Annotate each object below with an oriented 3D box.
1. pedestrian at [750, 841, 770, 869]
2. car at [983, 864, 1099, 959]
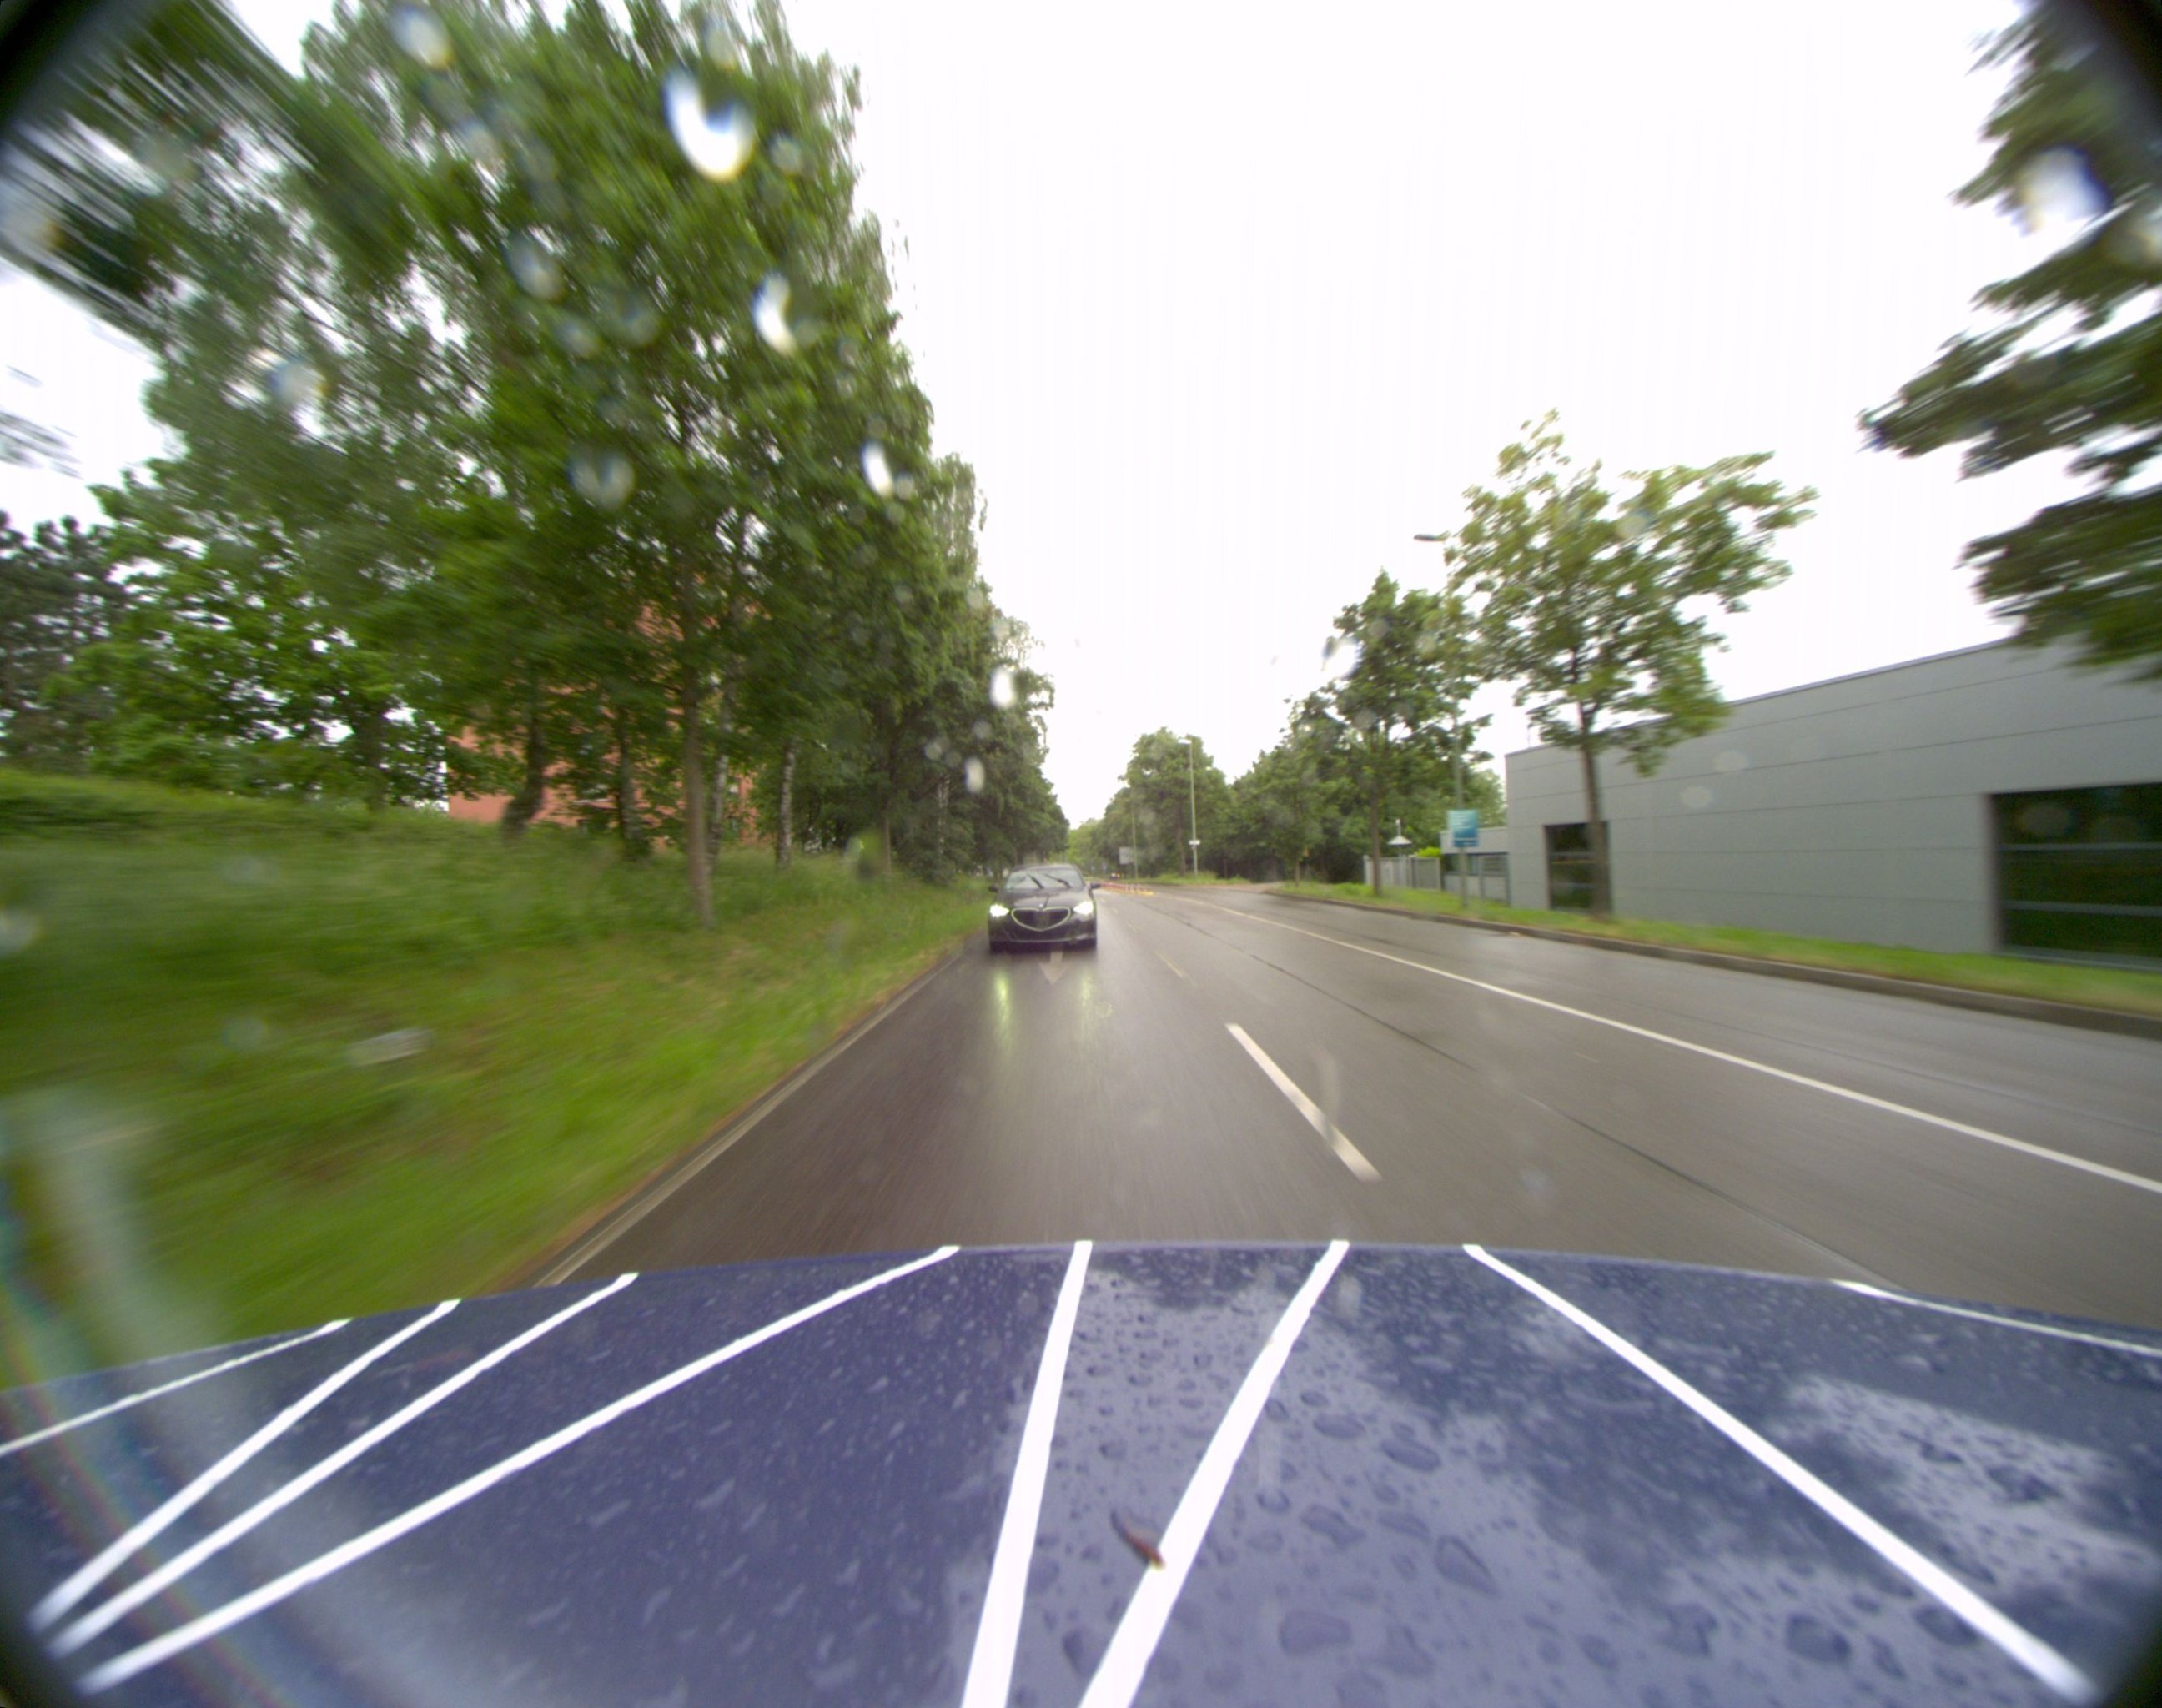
[{"bbox_3d":[-14.606,0.063,34.571,0.656,1.276,0.625,0,-1,2],"label":"pedestrian"},{"bbox_3d":[-0.647,0.977,14.446,1.845,1.471,4.001,-3,-1,0],"label":"car"}]
